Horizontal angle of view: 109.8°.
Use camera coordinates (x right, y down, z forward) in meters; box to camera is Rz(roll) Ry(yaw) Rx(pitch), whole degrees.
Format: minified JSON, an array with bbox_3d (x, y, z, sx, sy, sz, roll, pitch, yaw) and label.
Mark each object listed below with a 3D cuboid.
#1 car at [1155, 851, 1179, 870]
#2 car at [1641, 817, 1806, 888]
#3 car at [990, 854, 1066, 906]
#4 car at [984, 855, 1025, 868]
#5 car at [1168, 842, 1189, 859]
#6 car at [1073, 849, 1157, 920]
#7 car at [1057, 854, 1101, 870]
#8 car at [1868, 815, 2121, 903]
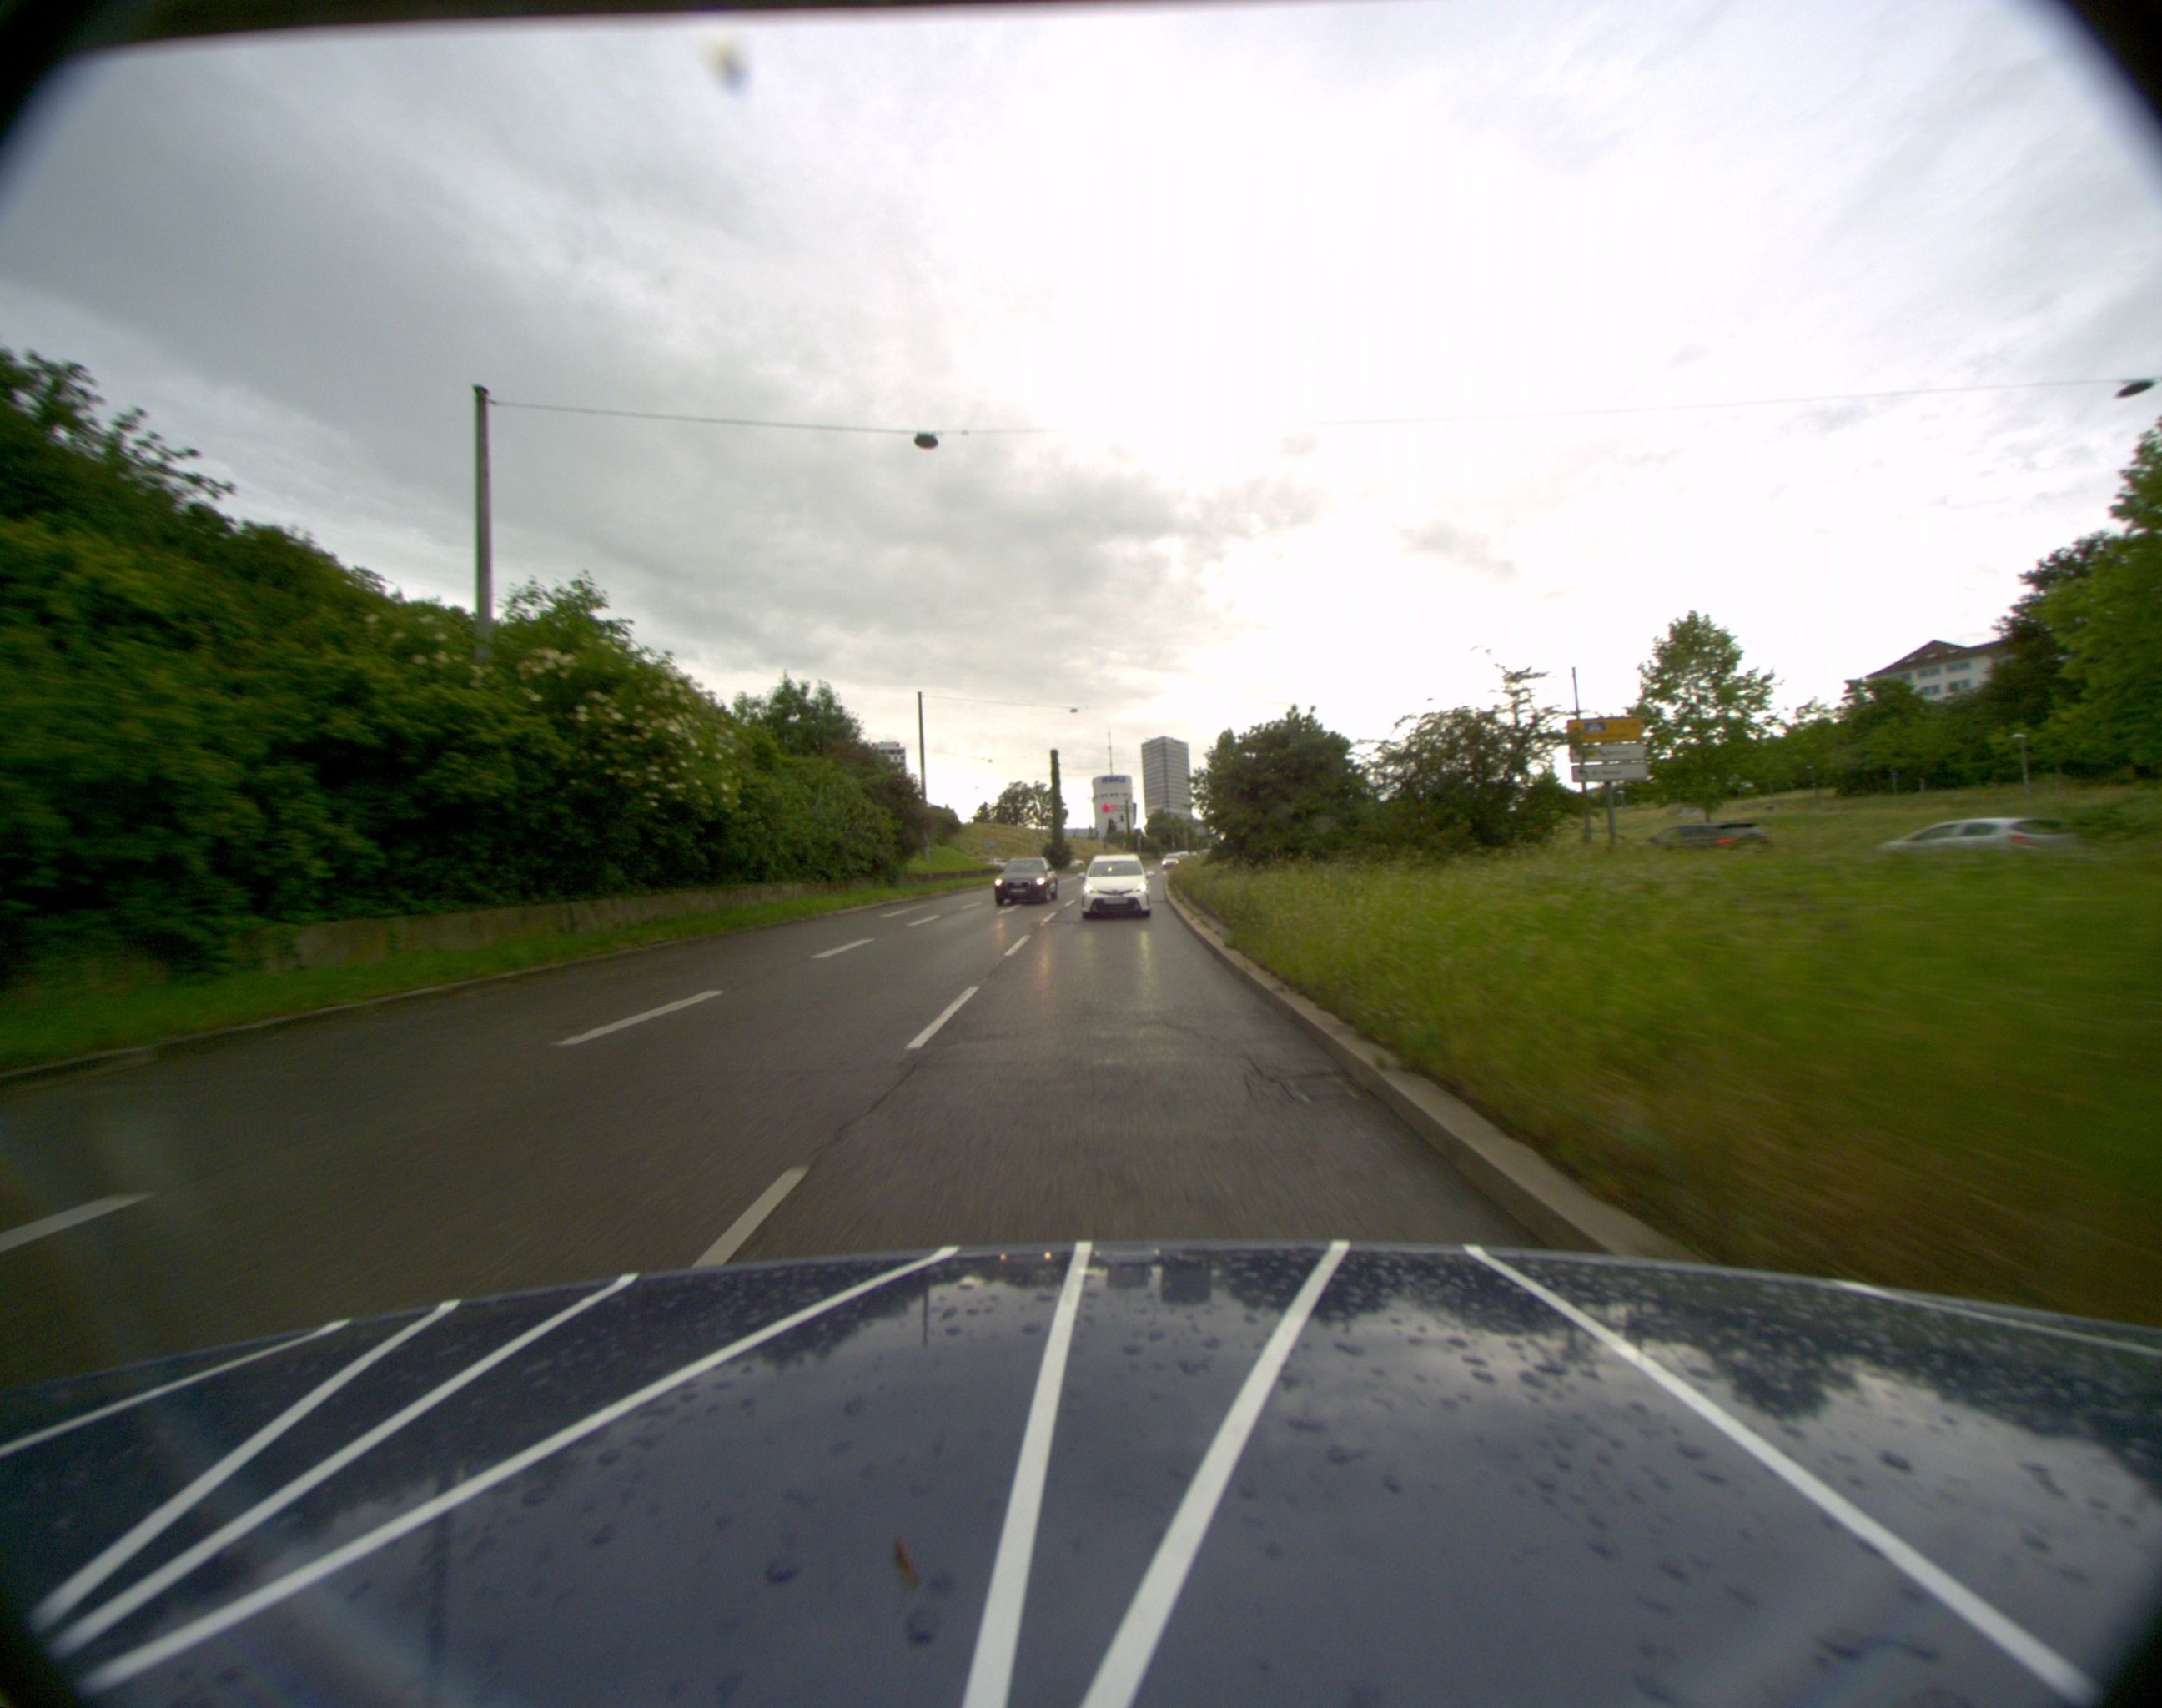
[{"bbox_3d":[9.029,0.695,79.372,1.997,1.761,4.003,-3,1,13],"label":"car"},{"bbox_3d":[21.057,-0.065,25.169,1.998,2.002,3.999,-5,1,1],"label":"car"},{"bbox_3d":[-1.810,0.864,27.405,1.926,1.591,4.281,-2,1,6],"label":"car"},{"bbox_3d":[-8.892,0.824,88.135,4.280,1.420,2.070,-1,-2,-41],"label":"car"},{"bbox_3d":[11.015,-0.425,85.461,1.997,1.761,4.003,-3,0,12],"label":"car"},{"bbox_3d":[1.035,0.729,20.672,1.923,1.604,4.377,-3,0,6],"label":"car"},{"bbox_3d":[-0.246,0.993,91.040,4.998,1.636,2.070,-3,1,-38],"label":"car"},{"bbox_3d":[24.600,0.094,20.735,1.998,2.002,3.999,-5,1,1],"label":"car"}]
